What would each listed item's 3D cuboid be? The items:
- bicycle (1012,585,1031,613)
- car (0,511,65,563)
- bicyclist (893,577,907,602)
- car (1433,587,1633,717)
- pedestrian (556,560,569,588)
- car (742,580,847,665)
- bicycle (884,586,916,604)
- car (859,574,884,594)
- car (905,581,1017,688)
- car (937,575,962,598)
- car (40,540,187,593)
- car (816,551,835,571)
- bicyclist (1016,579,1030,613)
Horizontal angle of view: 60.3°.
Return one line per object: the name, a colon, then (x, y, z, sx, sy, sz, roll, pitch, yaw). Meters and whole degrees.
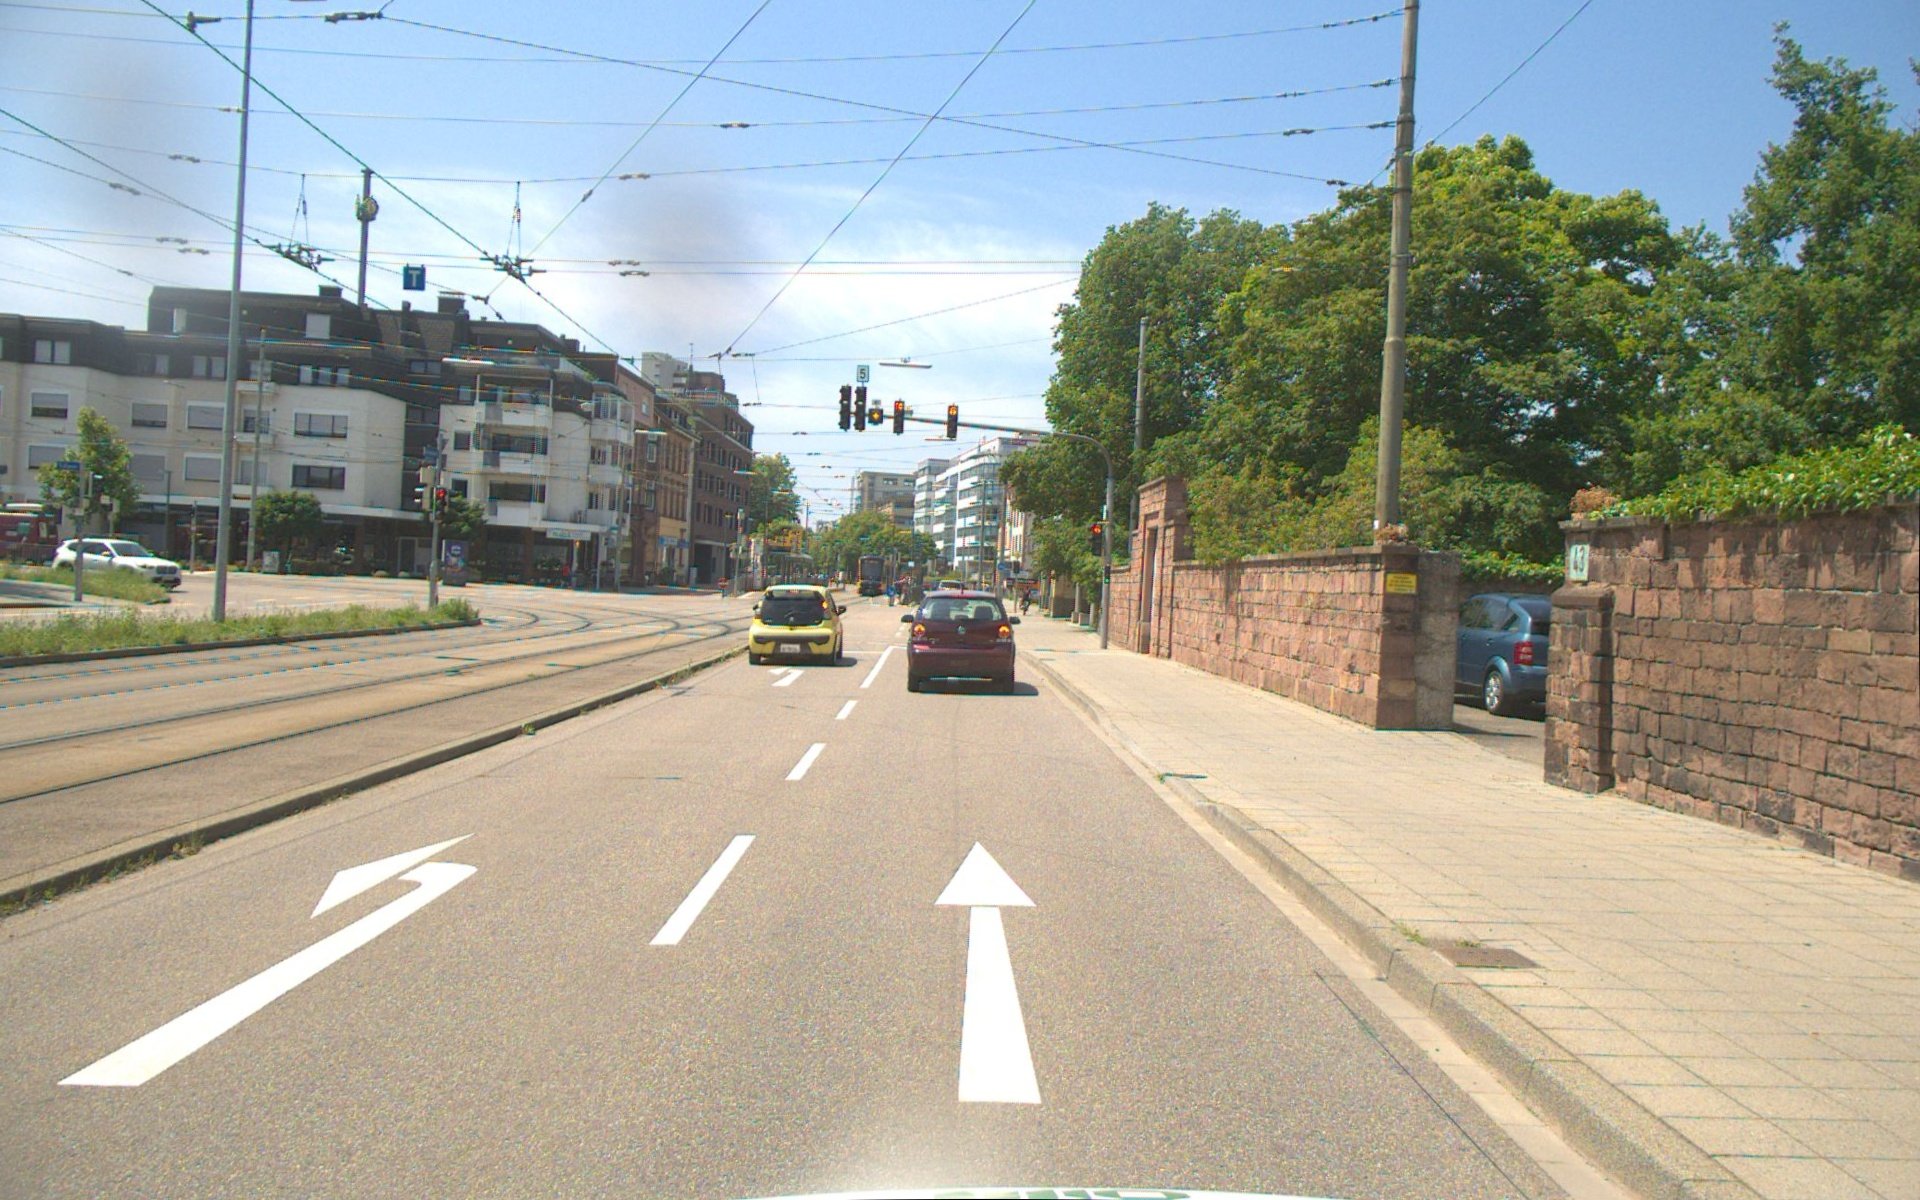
bicycle: (3.445, -0.060, 92.885, 0.818, 1.552, 4.000, 1, 0, 0)
car: (-46.537, -3.076, 80.198, 4.962, 2.382, 2.244, 2, 0, -2)
bicyclist: (-3.521, -0.615, 97.435, 0.751, 1.430, 0.506, 1, 0, -4)
car: (7.515, 0.636, 21.949, 1.451, 1.508, 2.944, 3, 1, -3)
pedestrian: (-23.358, -1.527, 97.131, 0.475, 1.568, 0.537, 1, 0, 31)
car: (-3.092, 0.380, 31.406, 1.688, 1.470, 3.292, 1, 1, -1)
bicycle: (-3.520, -0.305, 97.433, 1.829, 1.025, 0.578, 2, 0, -5)
car: (-7.661, -1.391, 143.348, 1.899, 1.670, 3.999, 1, 0, -1)
car: (-0.009, 0.470, 25.456, 1.577, 1.489, 4.085, 1, 1, -1)
car: (-0.705, -0.873, 105.367, 1.540, 1.440, 3.719, 1, 1, -1)
car: (-28.307, -1.109, 55.316, 4.459, 1.638, 1.730, 2, 0, 18)
car: (-14.714, -4.255, 180.621, 1.699, 2.048, 4.000, 3, 1, 0)
bicyclist: (3.482, -0.222, 91.814, 0.707, 1.850, 0.888, 1, 0, 0)
